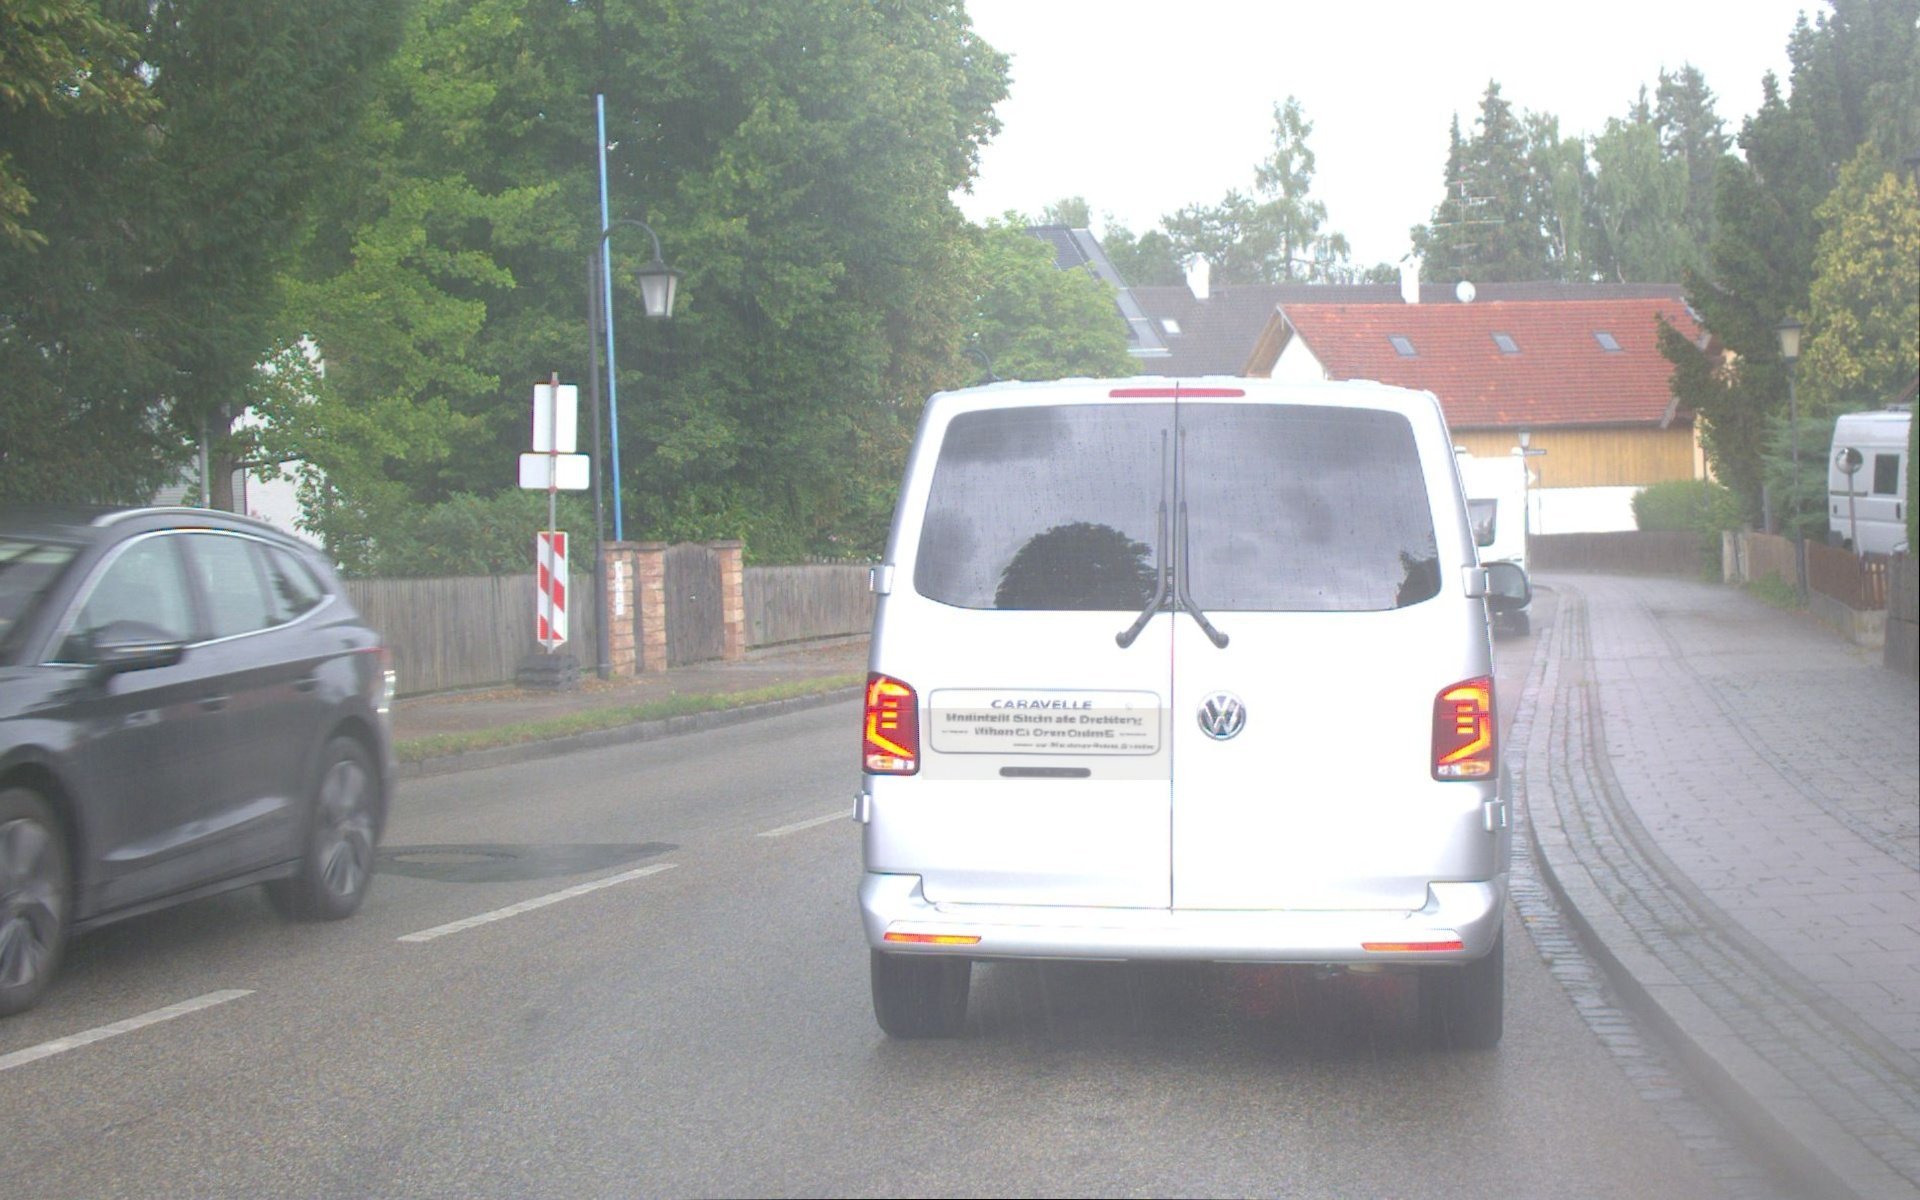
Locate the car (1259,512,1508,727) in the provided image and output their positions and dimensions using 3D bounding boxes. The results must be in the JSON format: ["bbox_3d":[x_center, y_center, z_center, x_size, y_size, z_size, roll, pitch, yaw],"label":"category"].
[{"bbox_3d":[3.473,0.127,27.655,1.801,1.583,3.998,1,0,9],"label":"car"}]

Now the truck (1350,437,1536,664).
[{"bbox_3d":[7.071,-0.702,49.822,2.476,3.063,6.293,1,0,9],"label":"truck"}]

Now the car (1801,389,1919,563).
[{"bbox_3d":[12.989,-1.593,45.956,1.993,2.166,4.954,1,0,-3],"label":"car"}]

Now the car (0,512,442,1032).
[{"bbox_3d":[-3.563,0.488,12.067,1.995,1.589,4.189,1,1,14],"label":"car"}]

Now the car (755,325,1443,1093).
[{"bbox_3d":[0.560,0.265,11.100,1.801,2.007,3.999,1,0,6],"label":"car"}]

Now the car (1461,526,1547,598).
[{"bbox_3d":[11.974,-0.829,75.533,1.801,1.503,3.998,1,0,9],"label":"car"}]
